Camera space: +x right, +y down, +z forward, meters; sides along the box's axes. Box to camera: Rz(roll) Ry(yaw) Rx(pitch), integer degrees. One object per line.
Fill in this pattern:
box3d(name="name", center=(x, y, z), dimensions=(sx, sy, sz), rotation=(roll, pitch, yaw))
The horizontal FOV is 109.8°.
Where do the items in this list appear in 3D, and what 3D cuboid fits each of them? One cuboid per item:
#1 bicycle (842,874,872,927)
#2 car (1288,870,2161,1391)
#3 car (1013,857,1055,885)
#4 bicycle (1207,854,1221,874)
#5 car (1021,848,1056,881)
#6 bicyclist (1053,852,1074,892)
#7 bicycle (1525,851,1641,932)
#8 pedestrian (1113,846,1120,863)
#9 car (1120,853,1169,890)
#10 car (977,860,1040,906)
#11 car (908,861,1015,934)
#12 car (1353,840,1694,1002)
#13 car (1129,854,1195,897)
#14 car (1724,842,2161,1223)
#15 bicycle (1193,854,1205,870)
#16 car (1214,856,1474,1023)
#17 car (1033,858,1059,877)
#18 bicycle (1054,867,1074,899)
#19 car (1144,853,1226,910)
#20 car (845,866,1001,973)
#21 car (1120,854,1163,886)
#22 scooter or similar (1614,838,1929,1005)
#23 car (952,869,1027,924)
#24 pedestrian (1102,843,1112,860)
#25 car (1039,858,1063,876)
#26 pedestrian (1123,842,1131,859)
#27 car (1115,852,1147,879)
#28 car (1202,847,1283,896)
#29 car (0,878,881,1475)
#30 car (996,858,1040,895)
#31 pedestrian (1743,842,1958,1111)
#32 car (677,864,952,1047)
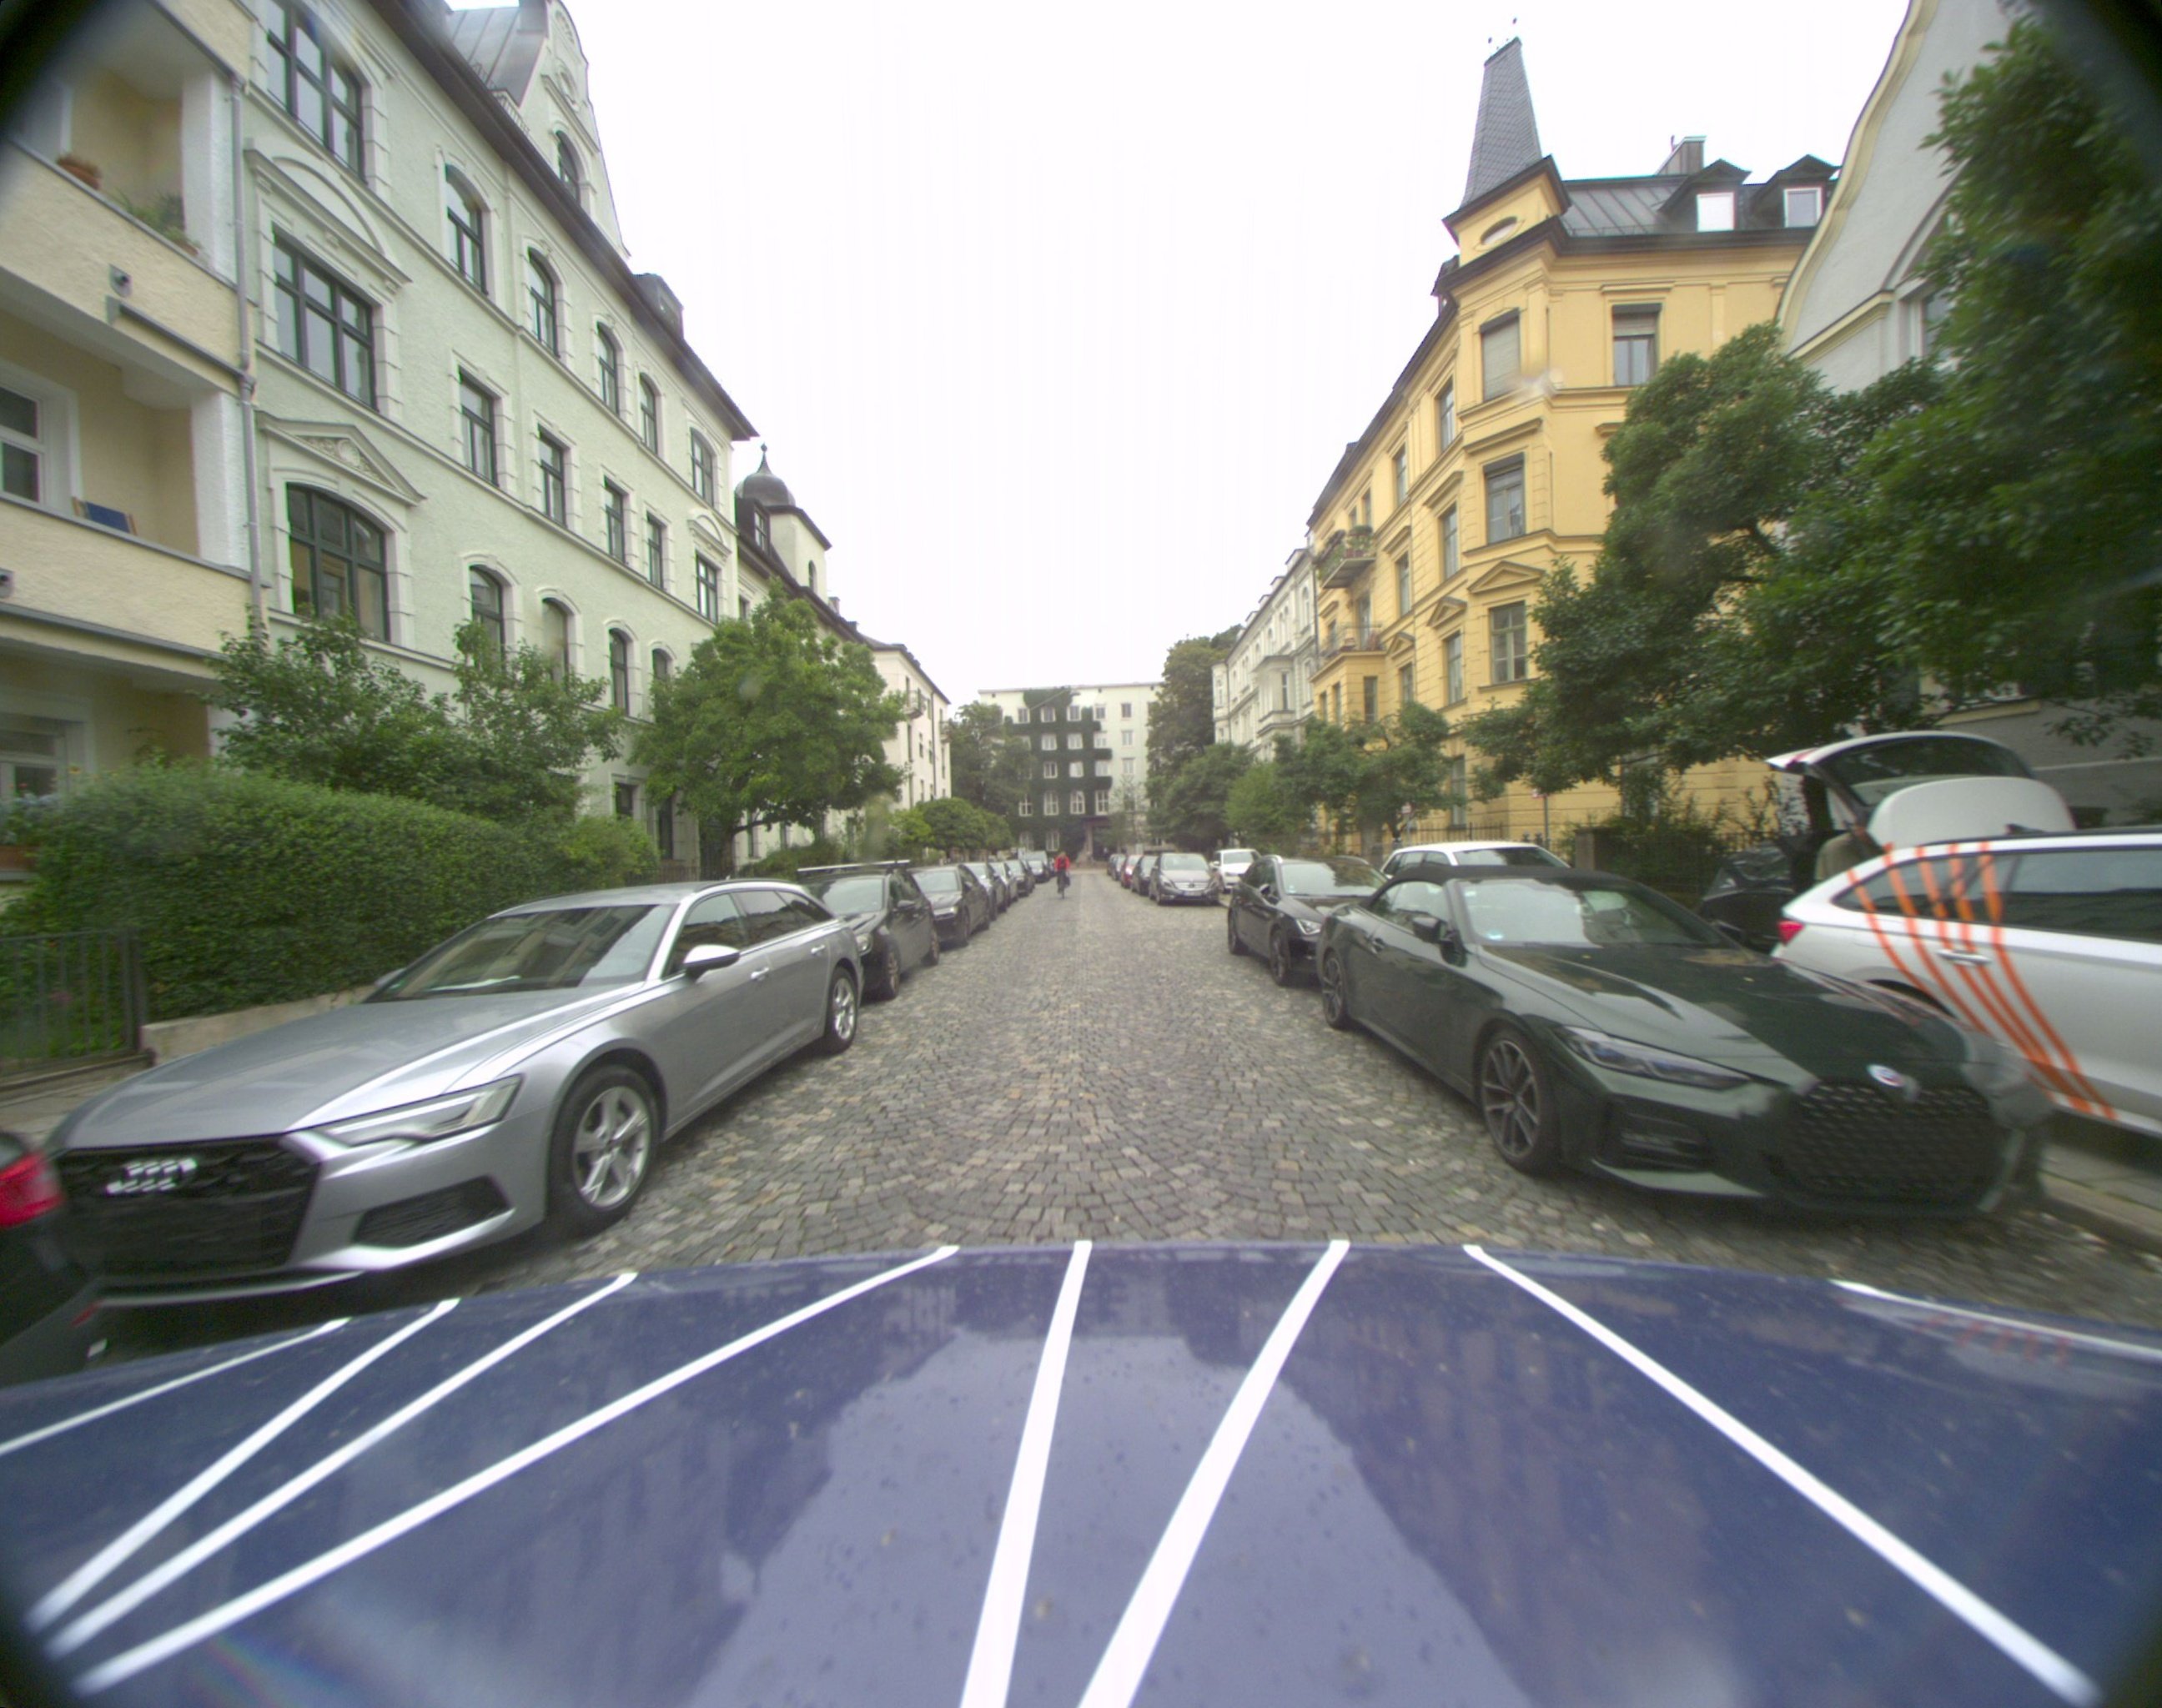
box3d(name="bicycle", center=(-5.532, 1.123, 18.791), dimensions=(0.582, 1.188, 1.646), rotation=(-3, 0, -14))
box3d(name="car", center=(2.835, 0.894, 4.767), dimensions=(1.819, 1.447, 4.913), rotation=(0, 0, 1))
box3d(name="car", center=(-2.799, 0.983, 46.272), dimensions=(1.942, 1.457, 4.532), rotation=(-4, 0, 2))
box3d(name="bicycle", center=(7.977, 0.589, 45.614), dimensions=(0.510, 1.118, 1.790), rotation=(-5, 1, 1))
box3d(name="car", center=(-2.852, 0.658, 51.862), dimensions=(1.999, 1.958, 4.965), rotation=(-5, 1, -1))
box3d(name="bicyclist", center=(-0.607, 0.626, 27.017), dimensions=(0.648, 1.350, 0.656), rotation=(-3, 1, 0))
box3d(name="bicycle", center=(8.506, 0.583, 12.989), dimensions=(0.607, 1.251, 2.060), rotation=(-2, 0, 1))
box3d(name="pedestrian", center=(4.161, 0.060, 88.970), dimensions=(0.701, 1.905, 0.863), rotation=(-4, 1, 3))
box3d(name="car", center=(2.853, 0.756, 34.887), dimensions=(1.846, 1.577, 4.191), rotation=(-1, 0, -1))
box3d(name="car", center=(-2.844, 1.092, 30.953), dimensions=(1.909, 1.494, 5.105), rotation=(-5, 0, 1))
box3d(name="car", center=(-2.990, 1.039, 20.087), dimensions=(1.887, 1.480, 4.814), rotation=(-4, 0, 1))
box3d(name="car", center=(5.245, 0.664, 9.855), dimensions=(1.744, 1.527, 4.466), rotation=(-3, 0, 0))
box3d(name="car", center=(2.981, 0.744, 29.101), dimensions=(1.875, 1.461, 5.133), rotation=(-1, 0, -1))
box3d(name="car", center=(5.093, 0.698, 2.698), dimensions=(1.780, 1.408, 4.561), rotation=(-3, 0, 1))
box3d(name="bicycle", center=(8.048, 0.555, 51.987), dimensions=(0.464, 1.045, 1.695), rotation=(-5, 1, 1))
box3d(name="car", center=(2.993, 0.848, 9.759), dimensions=(1.744, 1.594, 4.536), rotation=(-1, 0, 0))
box3d(name="car", center=(-2.593, 0.988, 57.025), dimensions=(1.744, 1.367, 4.181), rotation=(-1, 0, 0))
box3d(name="bicycle", center=(-0.591, 1.023, 27.054), dimensions=(0.636, 1.021, 1.955), rotation=(-3, 1, 0))
box3d(name="car", center=(3.085, 0.761, 23.332), dimensions=(1.744, 1.577, 4.191), rotation=(-1, 0, -3))
box3d(name="car", center=(-2.840, 1.109, 14.909), dimensions=(1.823, 1.480, 5.049), rotation=(-5, 0, 1))
box3d(name="car", center=(3.153, 0.805, 40.429), dimensions=(1.822, 1.500, 4.641), rotation=(1, 1, 0))
box3d(name="scooter or similar", center=(7.294, 0.619, 8.328), dimensions=(1.064, 1.514, 2.635), rotation=(-2, 0, 1))
box3d(name="car", center=(-2.943, 1.332, 25.300), dimensions=(1.760, 1.451, 4.480), rotation=(-5, 0, 1))
box3d(name="pedestrian", center=(3.054, -0.284, 88.570), dimensions=(0.703, 1.905, 0.861), rotation=(-5, 1, -31))
box3d(name="car", center=(-2.433, 1.041, 62.073), dimensions=(1.744, 1.367, 4.281), rotation=(-1, 0, 0))
box3d(name="pedestrian", center=(5.355, -0.370, 88.565), dimensions=(0.666, 1.905, 0.863), rotation=(-4, 1, 9))
box3d(name="car", center=(2.935, 0.657, 45.571), dimensions=(1.814, 1.490, 4.510), rotation=(-1, 0, 2))
box3d(name="car", center=(5.456, 0.558, 26.278), dimensions=(1.846, 1.457, 4.389), rotation=(-3, 0, 1))
box3d(name="car", center=(-3.009, 1.073, 4.764), dimensions=(1.998, 1.543, 4.986), rotation=(-4, 0, 1))
box3d(name="car", center=(-2.935, 1.018, 36.234), dimensions=(1.671, 1.499, 3.685), rotation=(-5, 0, 0))
box3d(name="pedestrian", center=(5.016, 0.761, 4.991), dimensions=(0.768, 1.640, 0.582), rotation=(-3, 1, 2))
box3d(name="car", center=(-3.013, 1.039, 9.705), dimensions=(1.898, 1.644, 4.293), rotation=(-3, 0, 0))
